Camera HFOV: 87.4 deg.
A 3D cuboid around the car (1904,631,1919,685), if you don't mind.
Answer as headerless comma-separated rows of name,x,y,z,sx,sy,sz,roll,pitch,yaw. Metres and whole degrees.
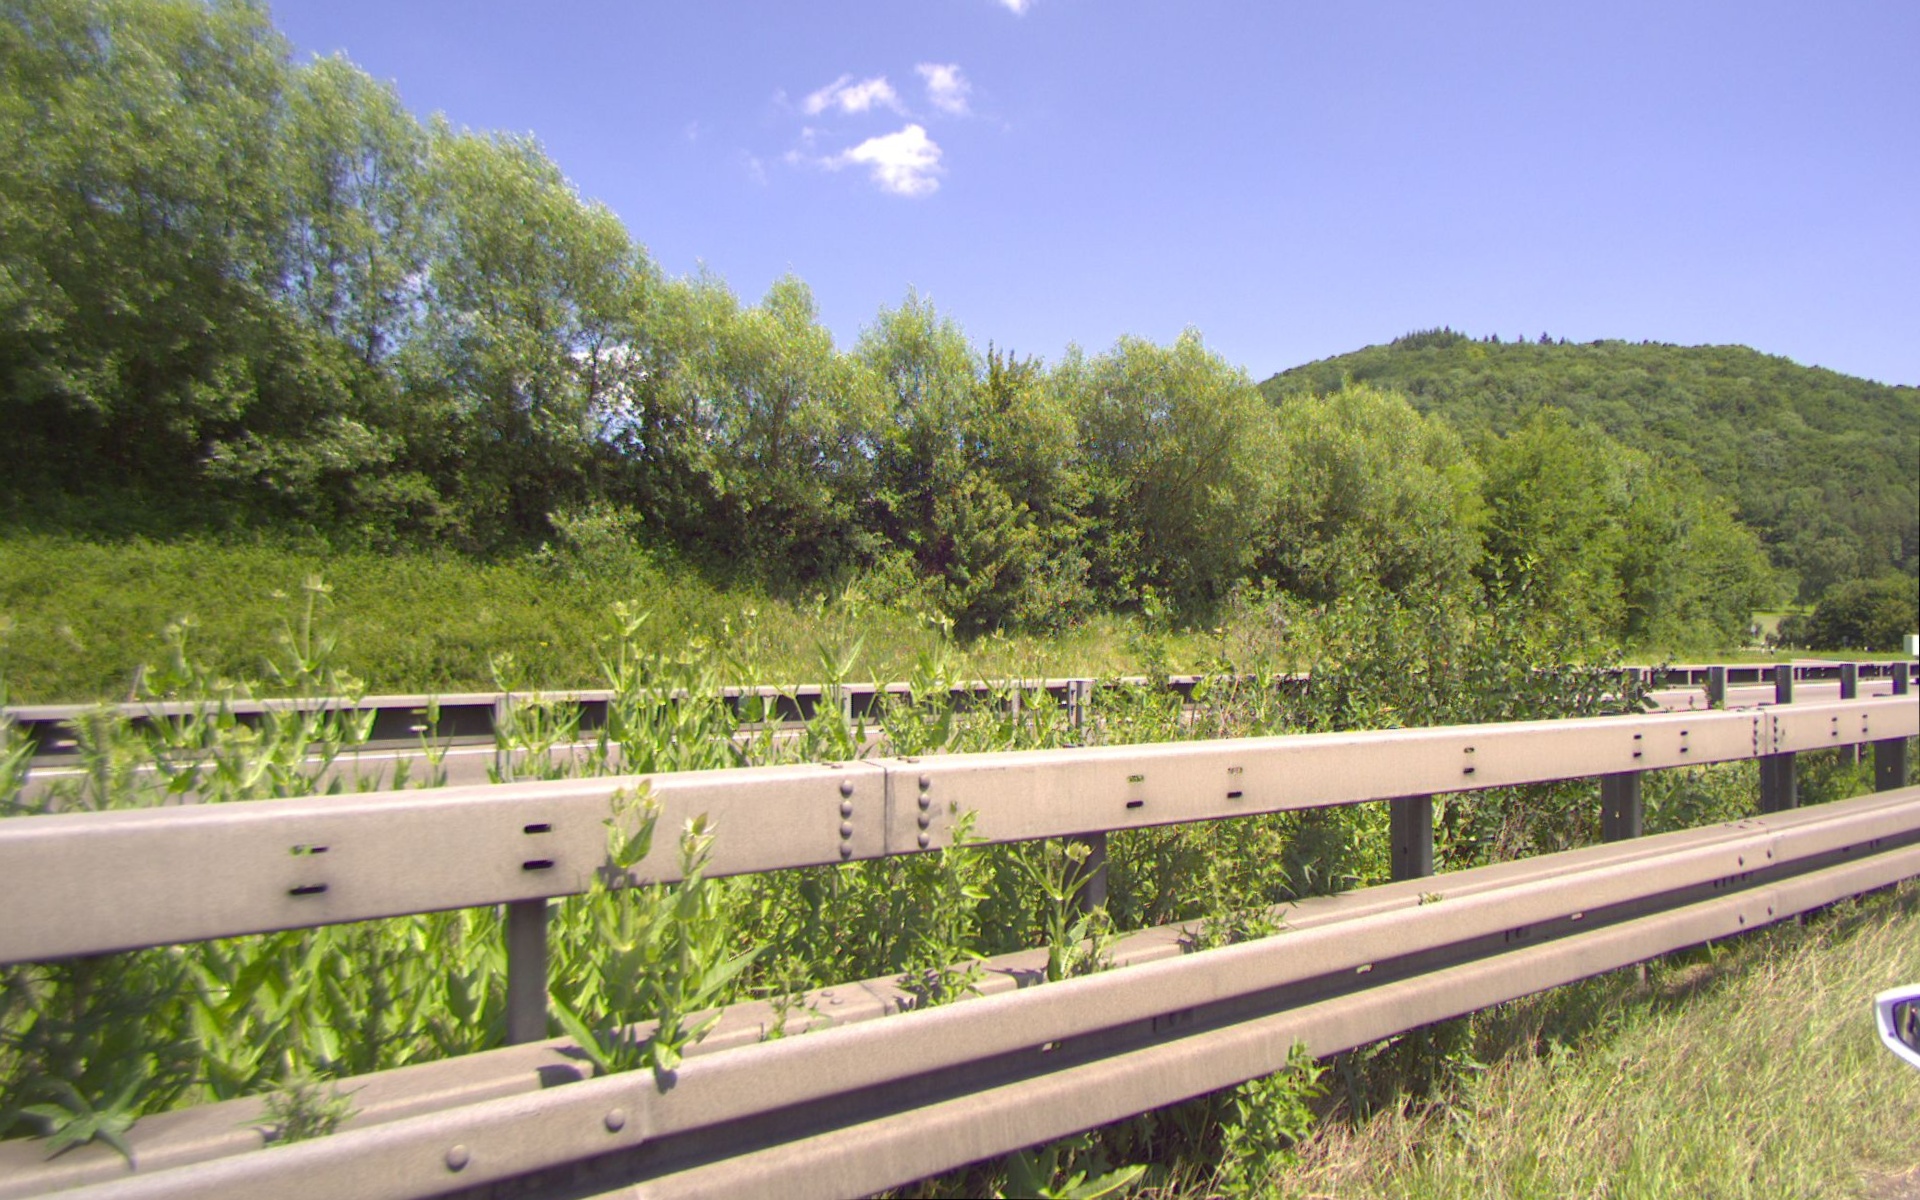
car,31.577,1.832,31.339,4.507,1.642,1.913,2,-1,-30
